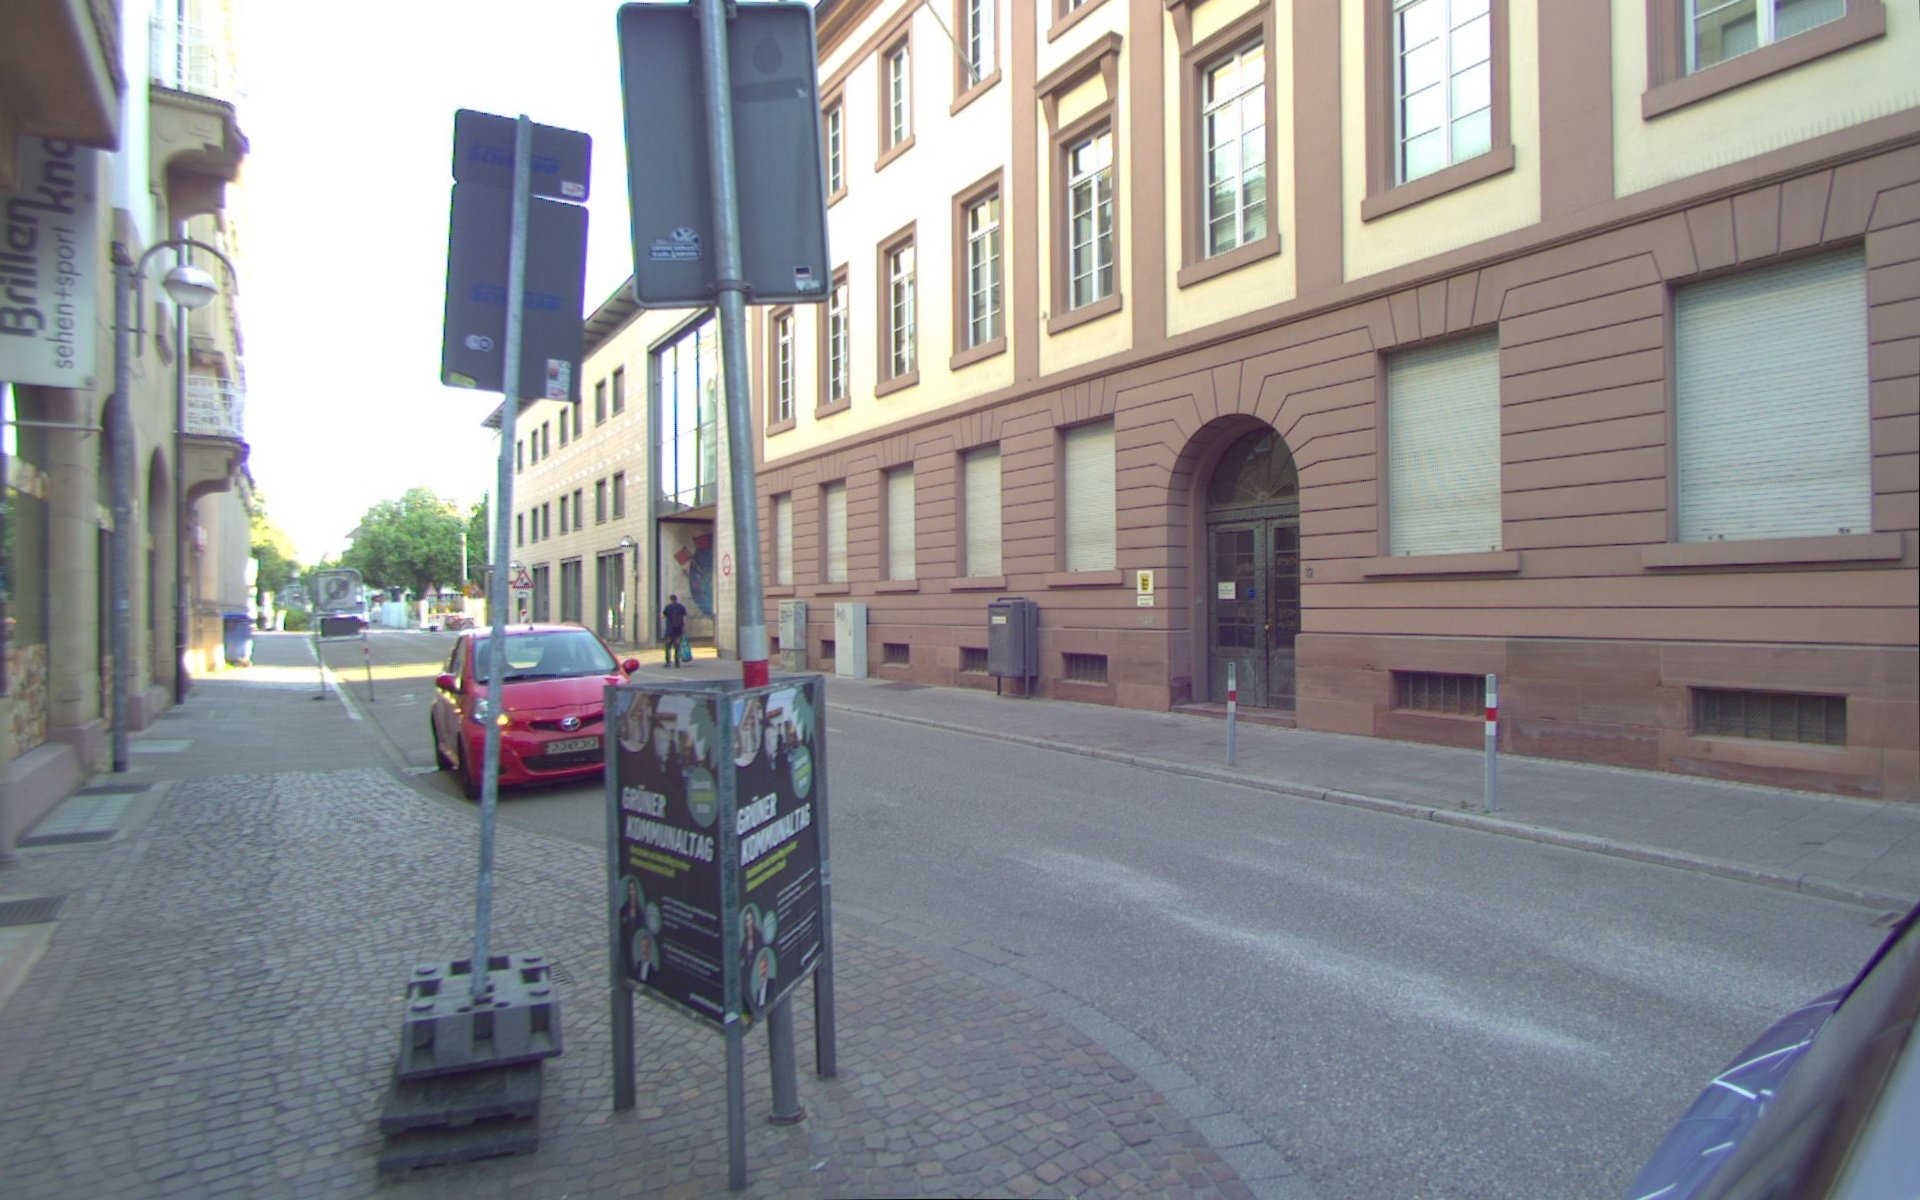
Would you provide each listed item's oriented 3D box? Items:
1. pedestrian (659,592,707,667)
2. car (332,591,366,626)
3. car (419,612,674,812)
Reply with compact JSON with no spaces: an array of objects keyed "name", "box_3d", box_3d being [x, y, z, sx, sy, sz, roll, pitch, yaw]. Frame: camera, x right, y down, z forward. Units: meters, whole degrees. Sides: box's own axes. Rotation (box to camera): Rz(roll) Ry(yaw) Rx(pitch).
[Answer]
[{"name":"pedestrian","box_3d":[-6.864,0.705,25.052,0.911,1.801,0.941,0,-1,-32]},{"name":"car","box_3d":[-42.366,0.560,70.250,1.902,2.334,4.004,0,0,-30]},{"name":"car","box_3d":[-4.251,0.902,10.020,1.619,1.460,4.002,-3,1,-32]}]
